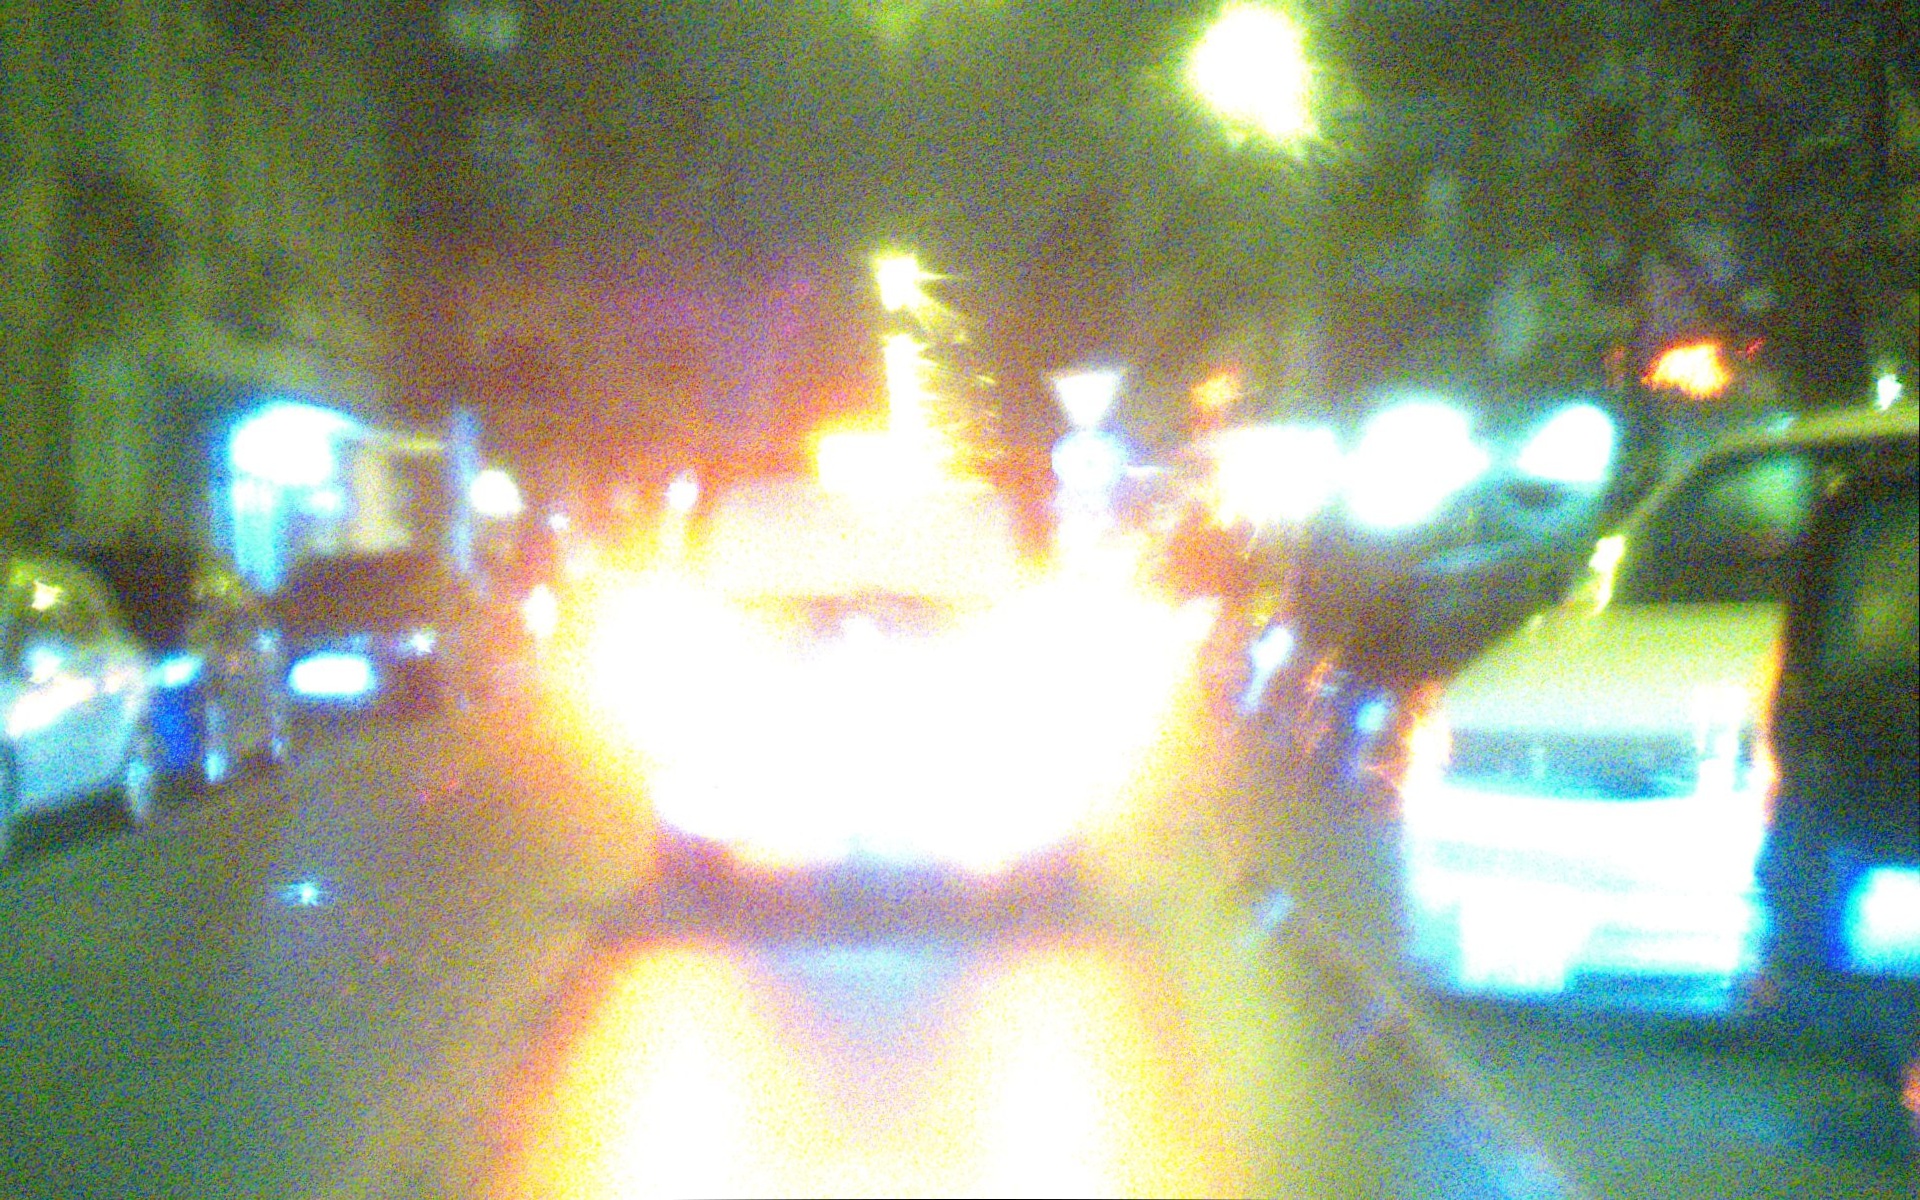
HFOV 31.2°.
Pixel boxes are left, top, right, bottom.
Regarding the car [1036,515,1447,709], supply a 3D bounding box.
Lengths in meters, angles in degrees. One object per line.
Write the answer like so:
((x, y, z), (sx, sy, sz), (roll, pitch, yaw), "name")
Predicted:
((2.627, 0.089, 31.770), (3.555, 1.585, 1.605), (-3, 1, -37), "car")

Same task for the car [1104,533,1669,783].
((2.927, 0.358, 23.351), (3.555, 1.448, 1.672), (-3, 1, -36), "car")

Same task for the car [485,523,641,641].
((-5.851, -0.287, 51.033), (1.883, 1.679, 4.000), (0, 1, -1), "car")

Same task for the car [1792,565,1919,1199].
((3.585, 0.593, 5.917), (3.987, 1.487, 1.735), (-3, 1, -28), "car")

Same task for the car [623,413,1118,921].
((-0.382, 0.263, 15.895), (1.993, 2.043, 4.000), (0, 0, -1), "car")

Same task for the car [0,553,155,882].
((-5.119, 0.516, 16.523), (1.587, 1.477, 3.793), (0, 1, 0), "car")

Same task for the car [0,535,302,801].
((-5.304, 0.364, 22.073), (1.655, 1.552, 4.077), (0, 1, -4), "car")

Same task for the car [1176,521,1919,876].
((3.032, 0.430, 17.188), (3.555, 1.479, 1.726), (-3, 1, -36), "car")

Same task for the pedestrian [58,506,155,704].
((-7.360, 0.039, 29.668), (0.701, 1.698, 0.539), (0, 1, 0), "pedestrian")

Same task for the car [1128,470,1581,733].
((3.324, -0.016, 28.745), (3.555, 1.984, 1.605), (-3, 1, -37), "car")

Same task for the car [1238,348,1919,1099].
((3.485, 0.276, 11.455), (4.784, 2.042, 2.067), (-1, 1, -31), "car")

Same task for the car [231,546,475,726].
((-5.521, 0.279, 31.685), (1.812, 1.552, 4.077), (0, 1, -4), "car")

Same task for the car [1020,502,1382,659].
((2.860, -0.243, 40.488), (3.988, 1.755, 1.880), (0, 1, -37), "car")

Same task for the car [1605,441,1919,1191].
((3.615, 0.411, 8.839), (3.554, 1.705, 1.646), (-3, 1, -29), "car")

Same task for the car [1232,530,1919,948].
((3.032, 0.504, 14.612), (3.504, 1.489, 1.450), (-3, 1, -32), "car")

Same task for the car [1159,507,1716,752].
((3.706, 0.185, 26.407), (3.988, 1.582, 1.880), (-4, 2, -36), "car")

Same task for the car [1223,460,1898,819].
((3.557, 0.178, 20.108), (3.739, 1.834, 1.726), (-3, 1, -37), "car")
